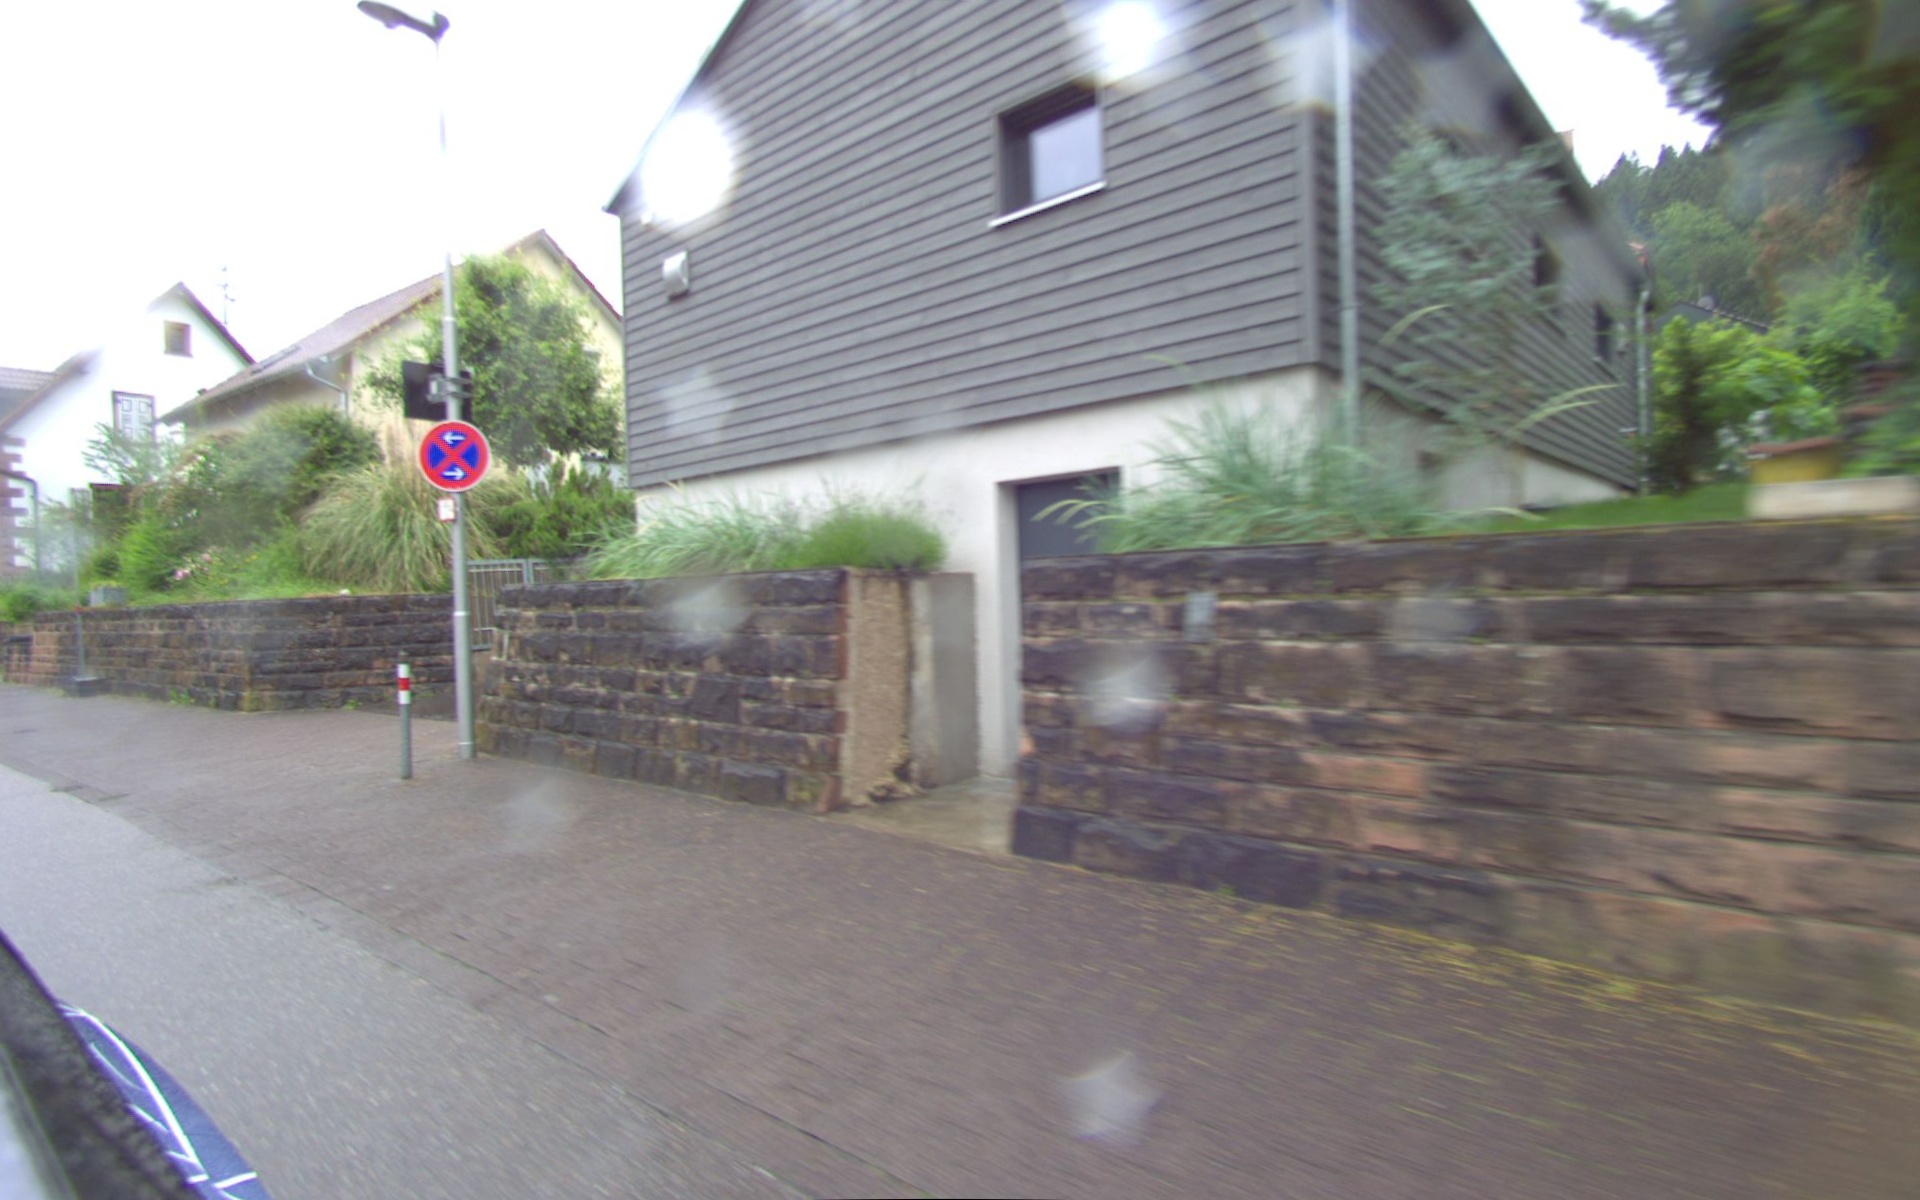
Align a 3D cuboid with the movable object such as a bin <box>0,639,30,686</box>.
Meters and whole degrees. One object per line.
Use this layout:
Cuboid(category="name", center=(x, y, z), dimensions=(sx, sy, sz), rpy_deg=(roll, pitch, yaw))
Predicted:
Cuboid(category="movable object such as a bin", center=(-19.947, 1.309, 21.211), dimensions=(0.543, 0.937, 0.533), rpy_deg=(-1, 2, 34))
